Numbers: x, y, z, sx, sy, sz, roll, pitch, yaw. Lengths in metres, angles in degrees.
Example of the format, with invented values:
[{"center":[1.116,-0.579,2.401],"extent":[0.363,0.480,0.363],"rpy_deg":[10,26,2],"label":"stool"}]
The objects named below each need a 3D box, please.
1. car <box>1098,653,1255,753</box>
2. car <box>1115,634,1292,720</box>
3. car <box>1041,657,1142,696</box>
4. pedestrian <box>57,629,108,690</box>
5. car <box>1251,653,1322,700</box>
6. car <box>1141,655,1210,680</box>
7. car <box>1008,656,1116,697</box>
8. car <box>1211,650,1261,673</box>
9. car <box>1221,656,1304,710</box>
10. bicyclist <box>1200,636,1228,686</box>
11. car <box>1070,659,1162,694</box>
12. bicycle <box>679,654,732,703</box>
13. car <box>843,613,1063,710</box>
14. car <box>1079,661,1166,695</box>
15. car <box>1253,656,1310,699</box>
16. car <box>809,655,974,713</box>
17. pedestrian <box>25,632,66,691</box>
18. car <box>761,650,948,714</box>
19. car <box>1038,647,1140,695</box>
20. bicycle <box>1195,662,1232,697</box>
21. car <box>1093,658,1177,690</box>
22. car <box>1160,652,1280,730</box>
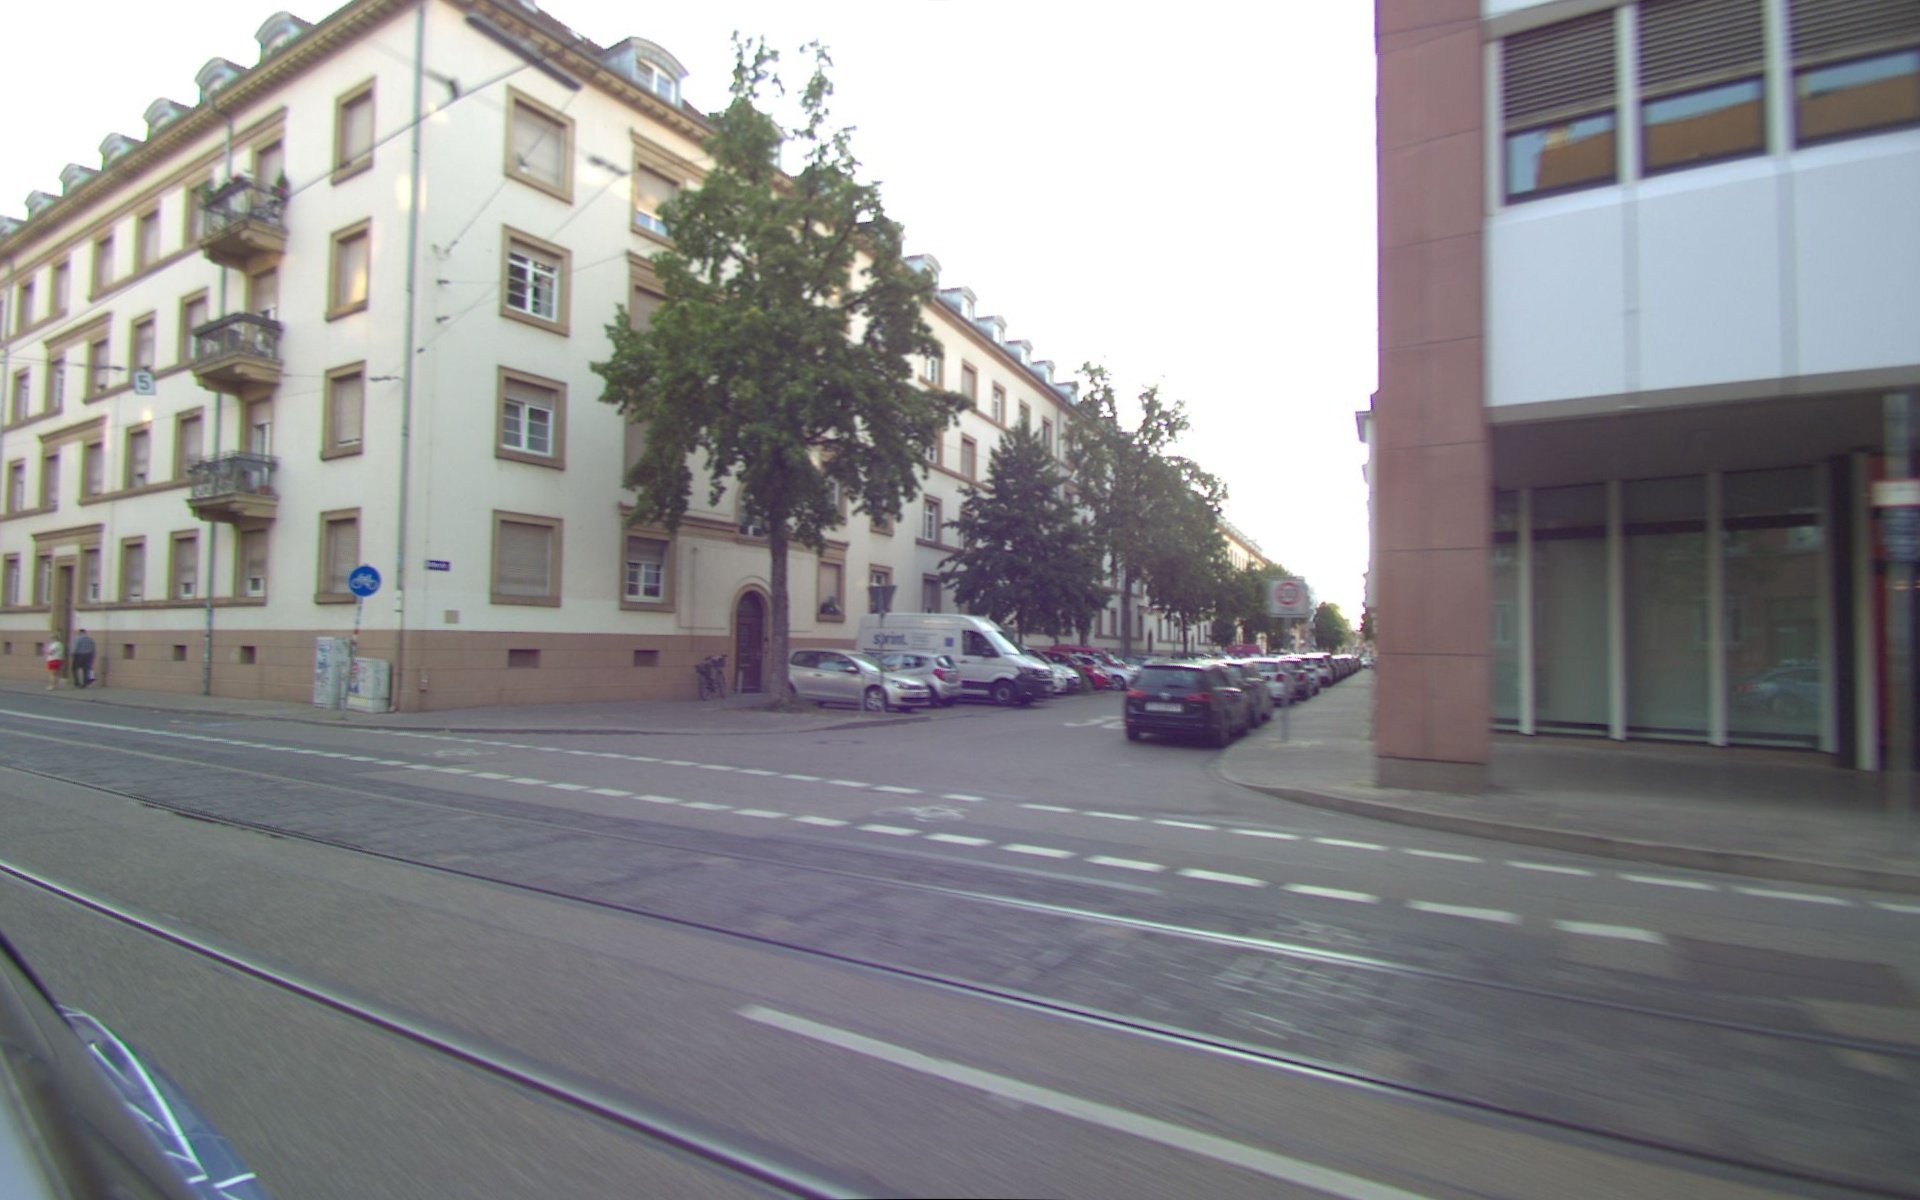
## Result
[{"center":[4.051,1.785,18.396],"extent":[1.913,1.516,3.965],"rpy_deg":[1,-3,25],"label":"car"},{"center":[6.291,1.945,26.154],"extent":[4.249,2.055,1.812],"rpy_deg":[-1,-4,22],"label":"car"},{"center":[5.577,3.211,42.909],"extent":[3.973,1.531,1.812],"rpy_deg":[-1,-3,22],"label":"car"},{"center":[-25.061,1.697,28.905],"extent":[0.978,1.714,0.790],"rpy_deg":[-1,-3,31],"label":"pedestrian"},{"center":[11.600,2.674,35.828],"extent":[1.913,1.516,3.965],"rpy_deg":[-1,-4,25],"label":"car"},{"center":[13.444,4.205,63.229],"extent":[3.973,1.531,1.812],"rpy_deg":[-1,-3,22],"label":"car"},{"center":[4.106,3.033,40.553],"extent":[3.973,1.531,1.812],"rpy_deg":[-1,-3,22],"label":"car"},{"center":[24.640,5.477,90.270],"extent":[4.167,1.925,1.897],"rpy_deg":[-1,-3,22],"label":"car"},{"center":[9.450,2.540,31.412],"extent":[1.913,1.516,3.965],"rpy_deg":[-1,-4,25],"label":"car"},{"center":[10.437,2.497,41.516],"extent":[0.941,2.029,1.208],"rpy_deg":[-1,-4,24],"label":"bicyclist"},{"center":[7.311,3.550,47.379],"extent":[3.973,1.531,1.812],"rpy_deg":[-1,-3,22],"label":"car"},{"center":[-6.686,2.051,26.690],"extent":[0.598,1.222,1.675],"rpy_deg":[0,-3,15],"label":"bicycle"},{"center":[-0.237,1.736,29.429],"extent":[6.094,2.609,2.080],"rpy_deg":[-1,-3,25],"label":"car"},{"center":[8.007,3.812,49.789],"extent":[3.973,1.531,1.812],"rpy_deg":[-1,-3,22],"label":"car"},{"center":[13.045,3.105,40.908],"extent":[1.911,1.615,3.970],"rpy_deg":[0,-3,22],"label":"car"},{"center":[-1.875,2.253,27.661],"extent":[4.155,1.433,1.780],"rpy_deg":[-1,-3,25],"label":"car"},{"center":[-25.703,1.722,28.434],"extent":[0.808,1.622,0.586],"rpy_deg":[-1,-3,31],"label":"pedestrian"},{"center":[-2.594,1.963,24.903],"extent":[4.155,1.433,1.983],"rpy_deg":[-1,-3,25],"label":"car"},{"center":[5.802,3.173,45.475],"extent":[4.249,2.055,1.812],"rpy_deg":[-1,-4,22],"label":"car"},{"center":[10.421,3.243,41.470],"extent":[0.952,1.364,3.155],"rpy_deg":[-1,-4,24],"label":"bicycle"},{"center":[8.966,3.747,51.705],"extent":[3.973,1.531,1.812],"rpy_deg":[-1,-3,22],"label":"car"},{"center":[5.982,2.003,22.956],"extent":[1.913,1.516,3.965],"rpy_deg":[1,-3,25],"label":"car"}]
